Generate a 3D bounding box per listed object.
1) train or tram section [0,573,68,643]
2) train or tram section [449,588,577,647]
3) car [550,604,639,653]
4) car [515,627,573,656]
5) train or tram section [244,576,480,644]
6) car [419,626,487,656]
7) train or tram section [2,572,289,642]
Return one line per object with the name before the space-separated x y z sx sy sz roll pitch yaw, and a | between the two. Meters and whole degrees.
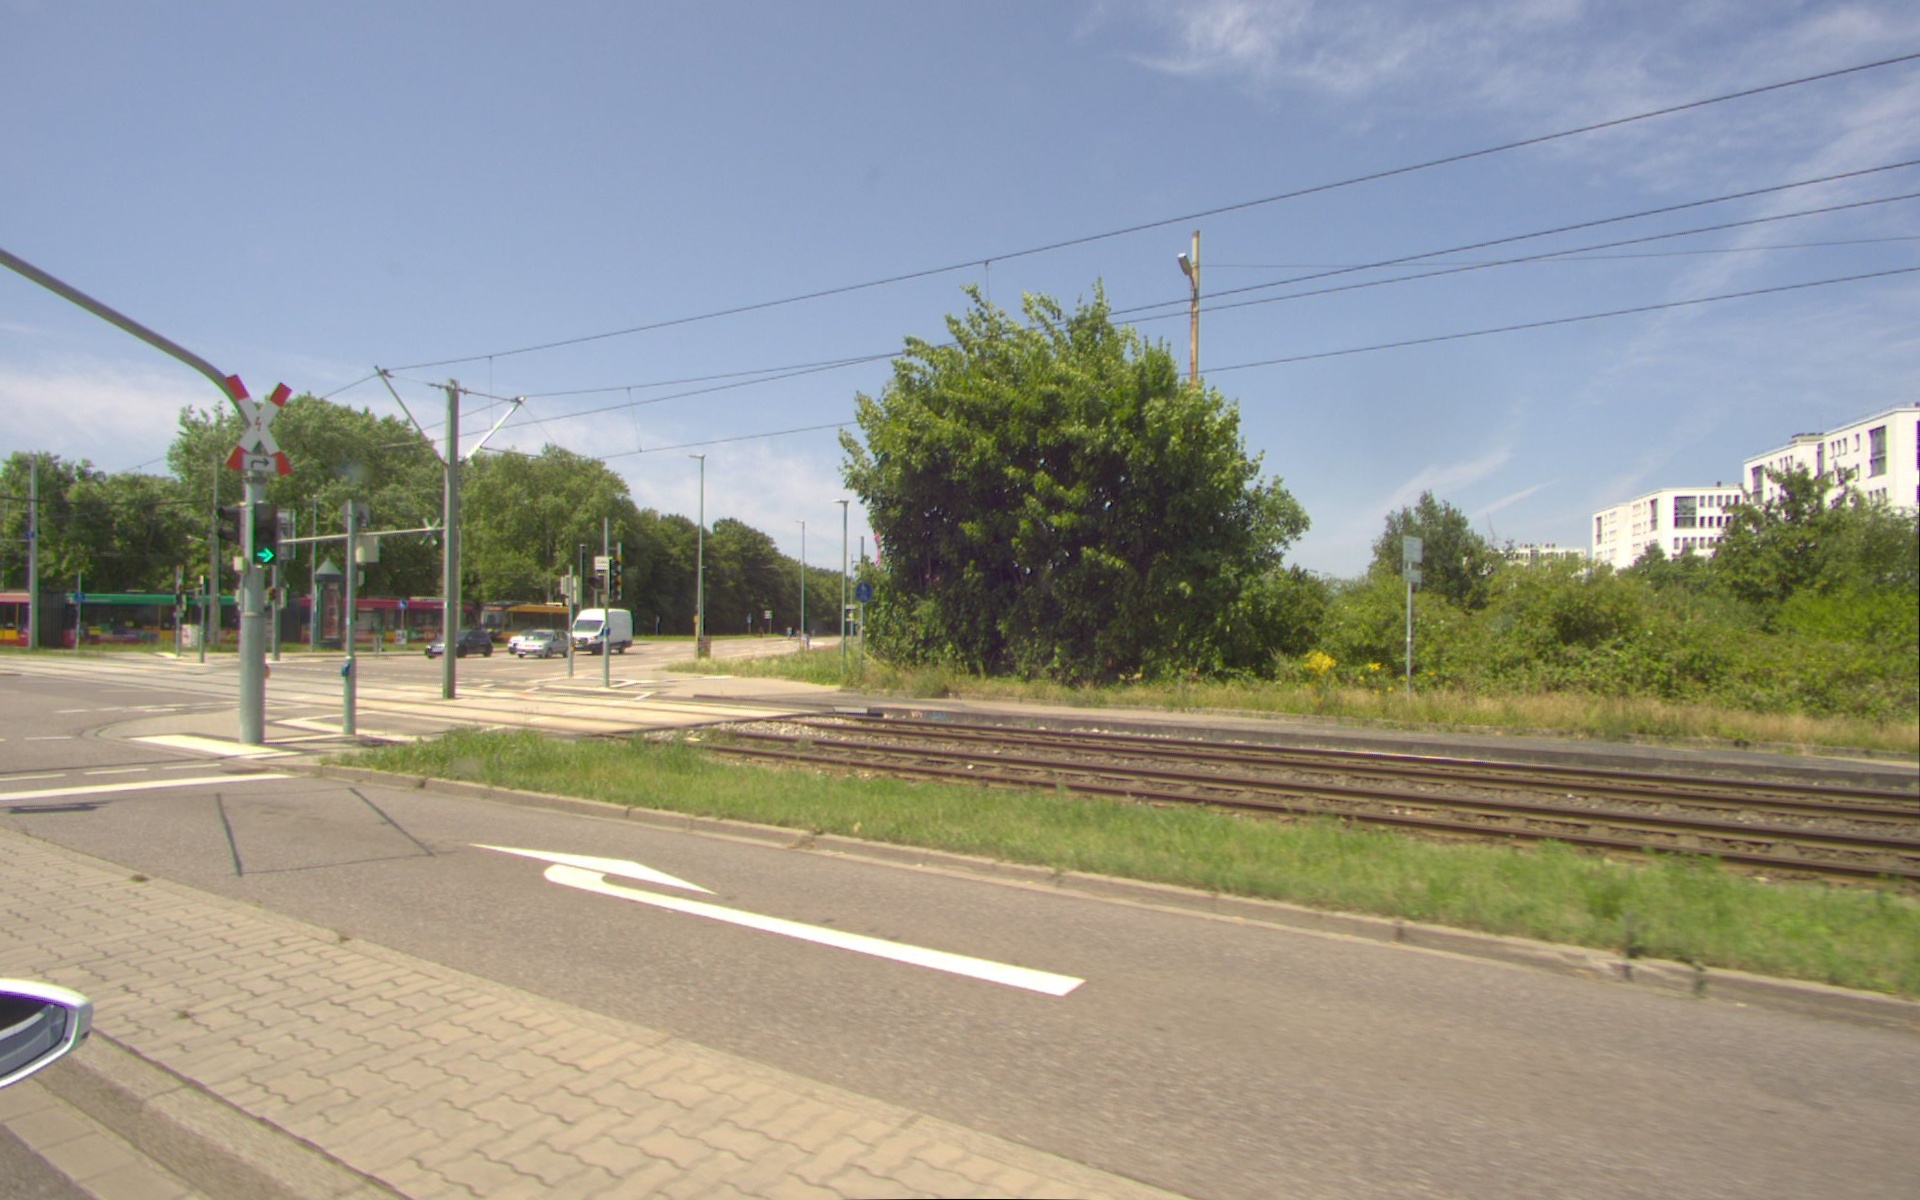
train or tram section | -60.284 0.578 58.637 12.821 3.857 2.926 -1 -3 -5
train or tram section | -35.831 1.600 81.194 2.867 3.965 13.979 -2 -4 6
car | -22.337 1.748 61.648 2.664 2.838 7.287 1 -1 1
car | -22.132 2.173 53.420 1.608 1.481 3.807 1 -1 -2
train or tram section | -40.702 0.901 69.105 2.888 3.966 13.956 -4 -5 37
car | -25.606 2.055 50.714 1.608 1.482 3.510 1 -1 1
train or tram section | -49.200 0.571 61.312 13.266 3.857 2.911 1 -4 -31
